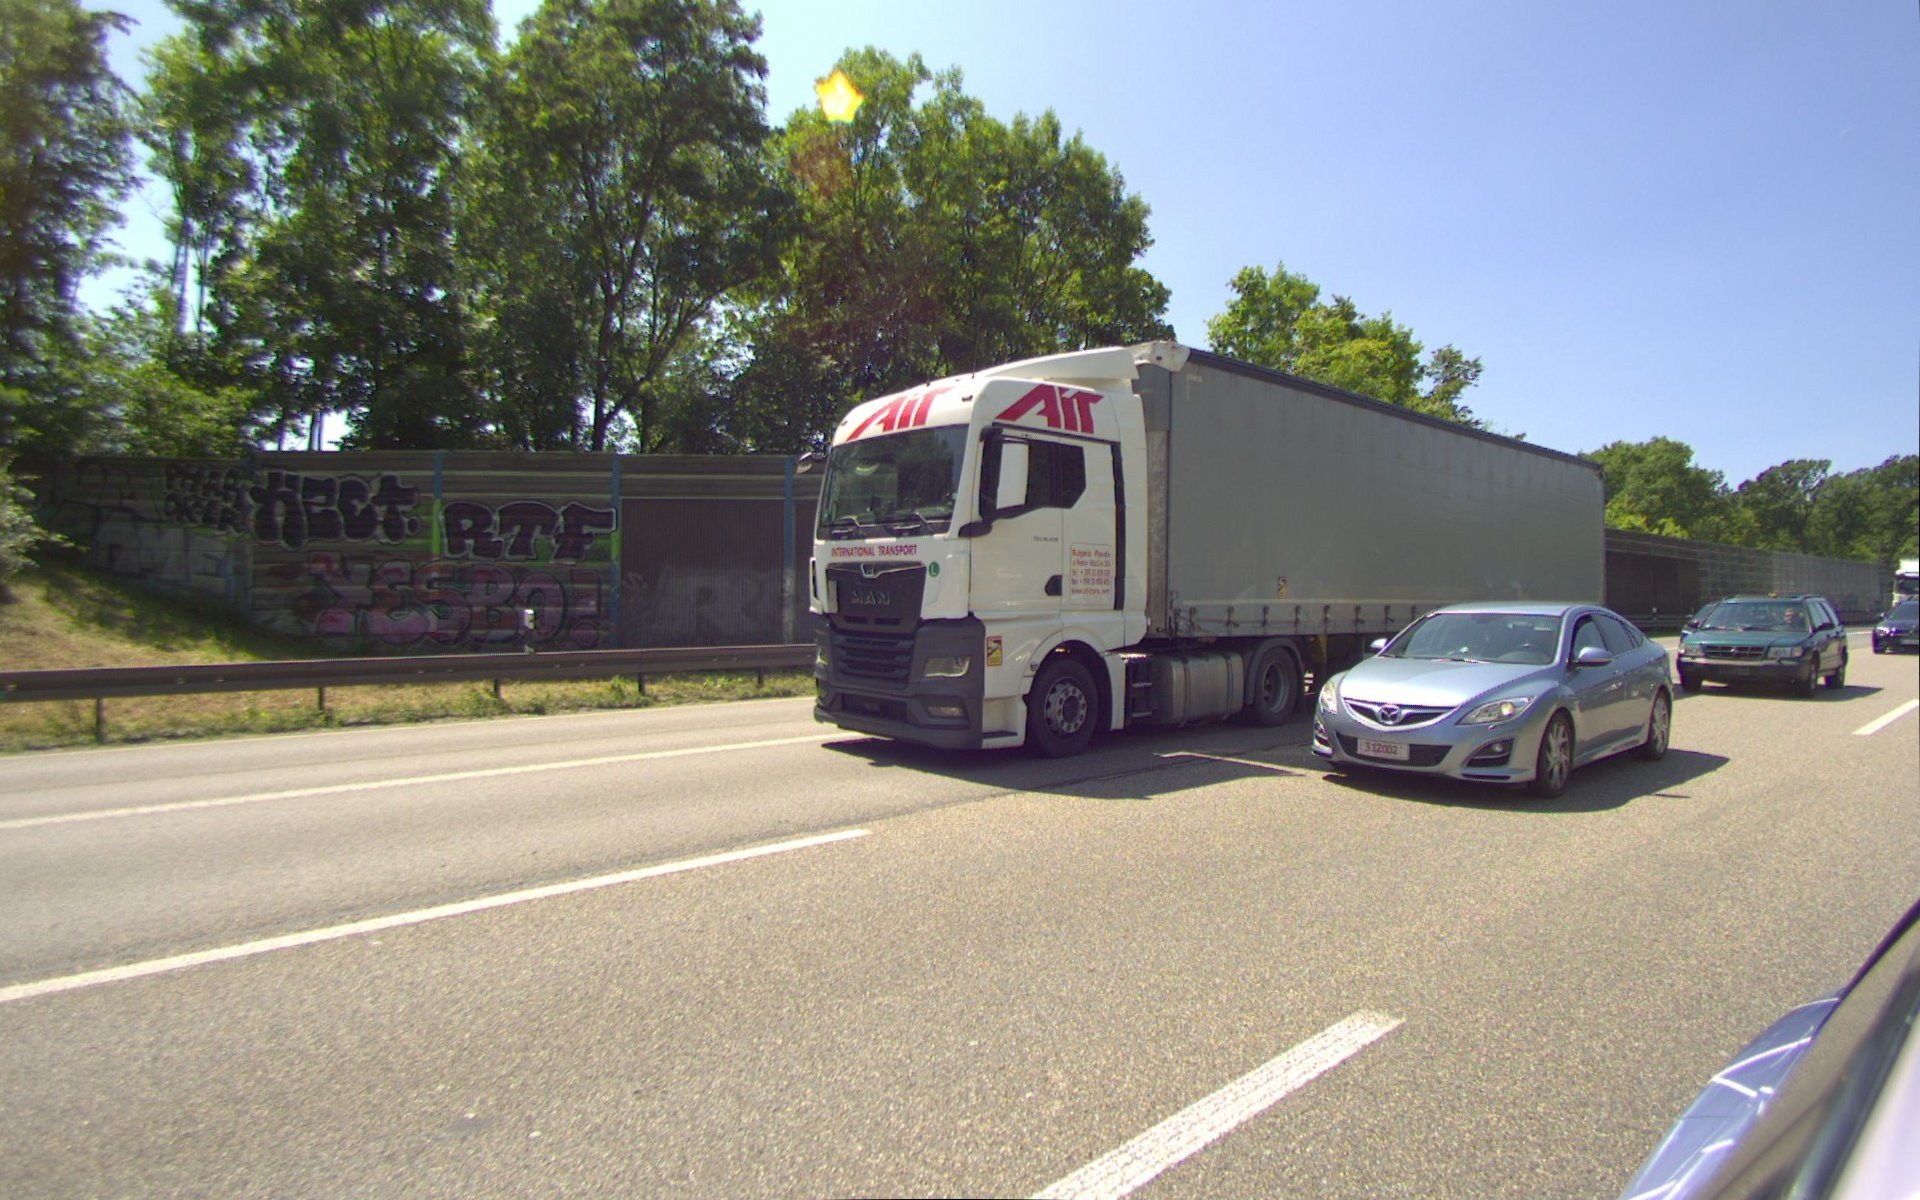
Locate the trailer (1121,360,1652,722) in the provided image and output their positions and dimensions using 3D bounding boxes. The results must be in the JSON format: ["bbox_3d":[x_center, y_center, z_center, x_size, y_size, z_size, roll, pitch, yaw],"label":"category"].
[{"bbox_3d":[8.040,-0.695,16.961,13.354,4.142,2.602,0,0,-41],"label":"trailer"}]

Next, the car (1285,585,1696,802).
[{"bbox_3d":[4.774,0.652,8.856,4.104,1.452,1.858,1,-1,-42],"label":"car"}]

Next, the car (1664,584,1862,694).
[{"bbox_3d":[13.245,0.589,16.623,3.931,1.579,1.905,1,-1,-42],"label":"car"}]

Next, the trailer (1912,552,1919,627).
[{"bbox_3d":[60.272,-0.562,60.933,13.226,4.269,2.819,1,-1,-41],"label":"trailer"}]

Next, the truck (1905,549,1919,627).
[{"bbox_3d":[55.049,-0.624,56.432,5.325,4.269,2.810,1,-1,-40],"label":"truck"}]

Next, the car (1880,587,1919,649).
[{"bbox_3d":[27.557,0.502,28.417,3.928,1.672,1.997,0,-1,-40],"label":"car"}]

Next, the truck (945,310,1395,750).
[{"bbox_3d":[2.726,-0.670,12.319,5.455,4.142,2.602,0,0,-41],"label":"truck"}]
